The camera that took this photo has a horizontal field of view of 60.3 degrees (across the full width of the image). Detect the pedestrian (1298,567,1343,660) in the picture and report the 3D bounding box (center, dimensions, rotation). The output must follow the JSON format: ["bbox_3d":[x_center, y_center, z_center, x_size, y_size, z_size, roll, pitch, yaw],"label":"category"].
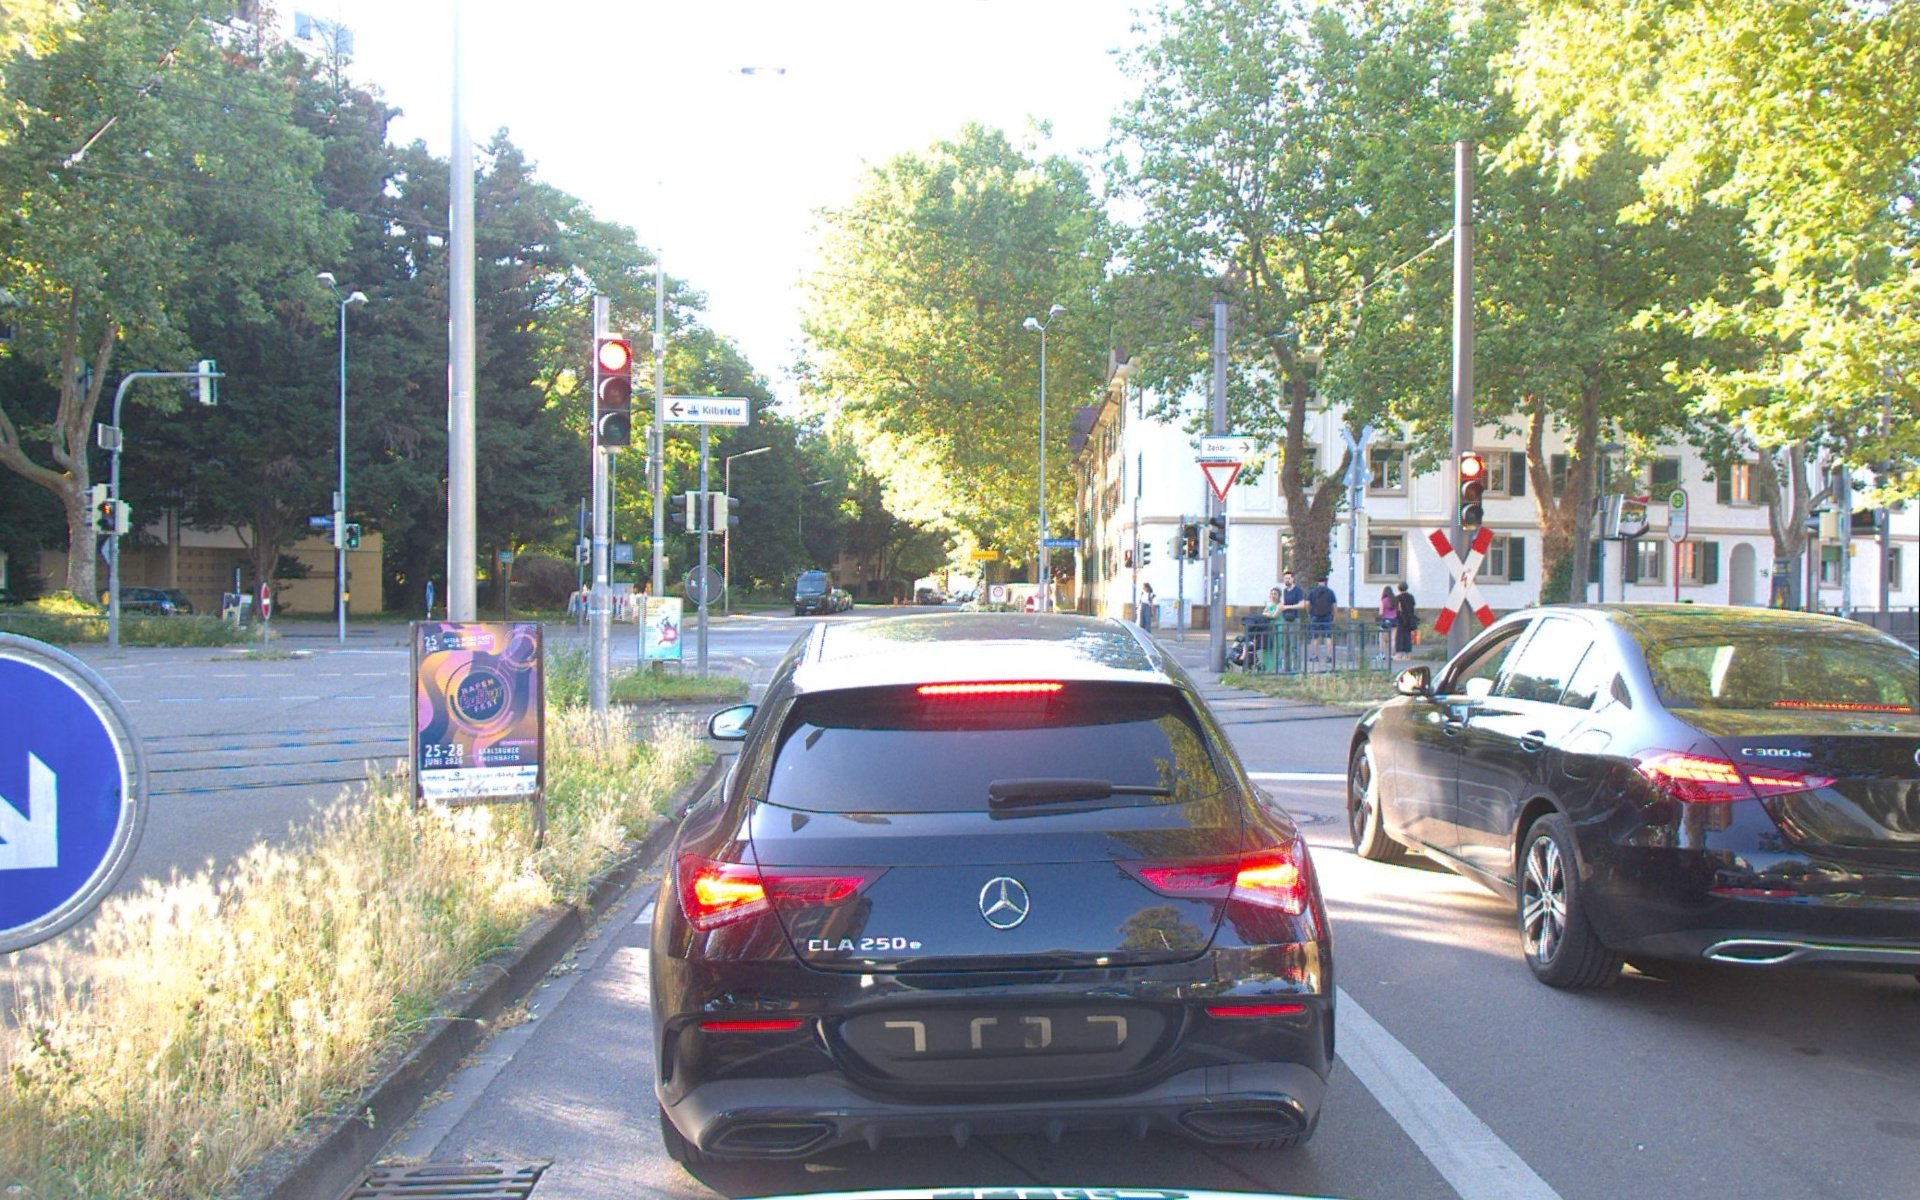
[{"bbox_3d":[7.648,0.281,35.128,0.691,1.951,0.838,1,-1,-4],"label":"pedestrian"}]

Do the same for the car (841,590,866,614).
[{"bbox_3d":[-8.124,0.145,126.284,1.698,1.796,3.970,1,0,-1],"label":"car"}]

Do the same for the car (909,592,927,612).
[{"bbox_3d":[-3.991,0.207,158.408,1.698,1.796,4.018,1,0,-1],"label":"car"}]

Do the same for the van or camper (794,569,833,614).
[{"bbox_3d":[-8.787,-0.485,99.618,1.953,2.586,4.650,1,0,-1],"label":"van or camper"}]

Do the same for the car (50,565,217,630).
[{"bbox_3d":[-24.375,-0.065,48.858,3.902,1.805,2.001,1,0,7],"label":"car"}]

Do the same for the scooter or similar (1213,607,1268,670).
[{"bbox_3d":[5.166,0.702,30.492,0.812,1.124,0.808,1,0,-6],"label":"scooter or similar"}]

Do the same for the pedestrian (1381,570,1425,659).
[{"bbox_3d":[9.858,0.316,36.820,0.691,1.951,0.838,1,-1,-4],"label":"pedestrian"}]

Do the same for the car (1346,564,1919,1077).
[{"bbox_3d":[3.158,0.654,7.347,1.851,1.516,4.382,1,2,0],"label":"car"}]

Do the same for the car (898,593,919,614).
[{"bbox_3d":[-4.518,0.349,145.448,1.698,1.796,4.018,1,0,-1],"label":"car"}]

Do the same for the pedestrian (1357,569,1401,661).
[{"bbox_3d":[9.068,0.329,35.808,0.691,1.951,0.838,1,-1,-4],"label":"pedestrian"}]

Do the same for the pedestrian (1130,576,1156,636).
[{"bbox_3d":[6.105,0.202,55.202,0.691,1.951,0.838,1,-1,-4],"label":"pedestrian"}]

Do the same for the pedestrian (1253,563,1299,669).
[{"bbox_3d":[5.912,0.306,30.981,0.669,1.951,0.706,1,-1,-5],"label":"pedestrian"}]

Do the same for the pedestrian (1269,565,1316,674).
[{"bbox_3d":[6.069,0.359,30.211,0.669,1.951,0.707,1,-1,-3],"label":"pedestrian"}]

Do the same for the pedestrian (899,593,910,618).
[{"bbox_3d":[-4.355,0.455,129.959,0.692,1.951,0.837,1,-1,-11],"label":"pedestrian"}]

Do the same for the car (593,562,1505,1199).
[{"bbox_3d":[0.197,0.664,5.401,1.851,1.475,4.001,1,2,0],"label":"car"}]

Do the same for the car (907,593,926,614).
[{"bbox_3d":[-3.943,0.318,150.325,1.698,1.796,4.018,1,0,-1],"label":"car"}]
